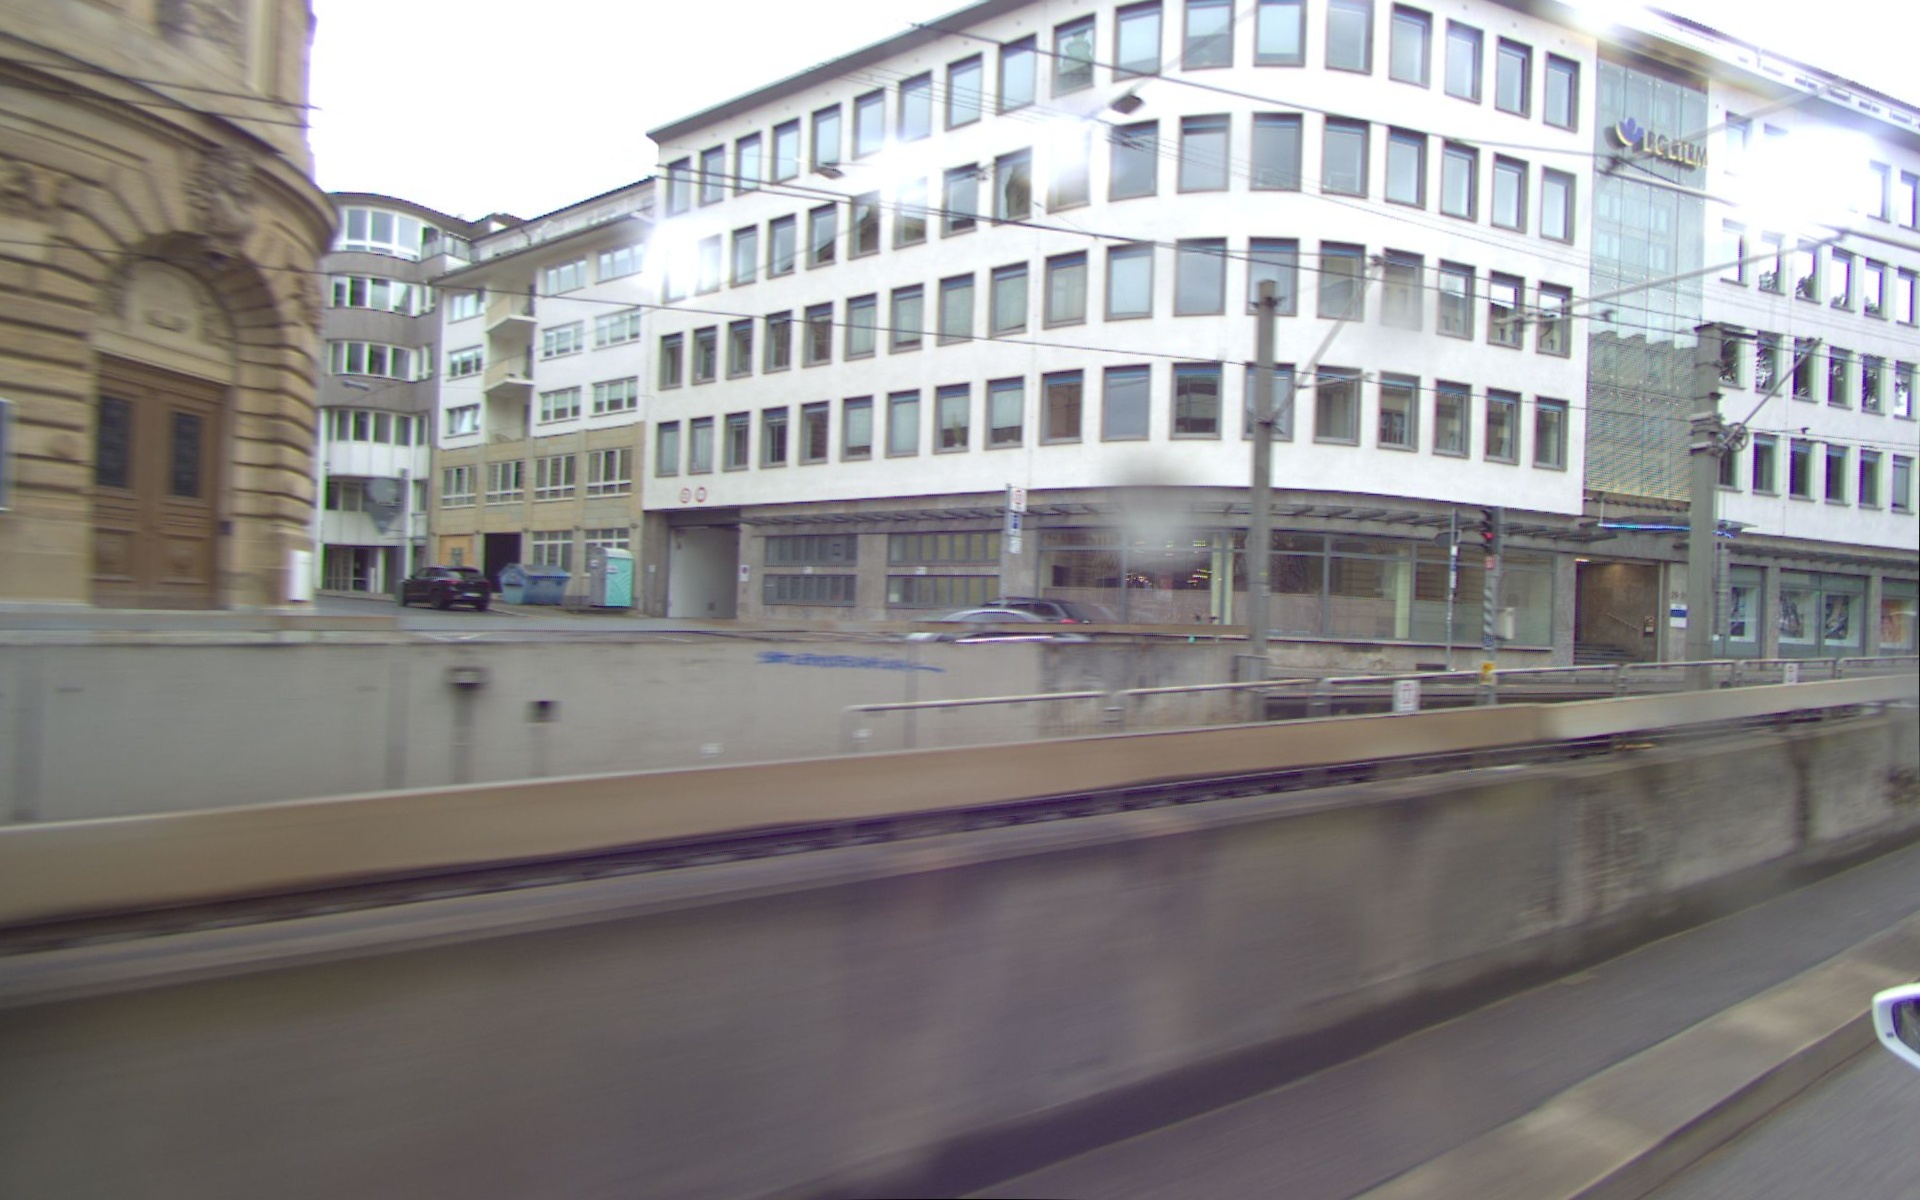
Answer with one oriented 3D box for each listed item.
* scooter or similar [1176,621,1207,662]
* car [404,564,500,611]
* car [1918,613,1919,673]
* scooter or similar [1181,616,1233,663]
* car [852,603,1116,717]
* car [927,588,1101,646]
[{"bbox_3d":[6.256,1.106,27.199,0.538,1.058,0.823,1,1,-7],"label":"scooter or similar"},{"bbox_3d":[-18.285,-0.391,36.087,1.987,1.438,3.948,2,-4,-45],"label":"car"},{"bbox_3d":[33.177,1.444,32.047,4.856,1.908,1.989,1,0,-23],"label":"car"},{"bbox_3d":[6.492,1.043,26.407,1.165,1.194,0.547,1,1,-8],"label":"scooter or similar"},{"bbox_3d":[0.342,0.881,15.593,3.610,1.548,1.989,1,0,-23],"label":"car"},{"bbox_3d":[1.475,0.512,28.407,4.698,1.542,1.671,-1,-3,33],"label":"car"}]
